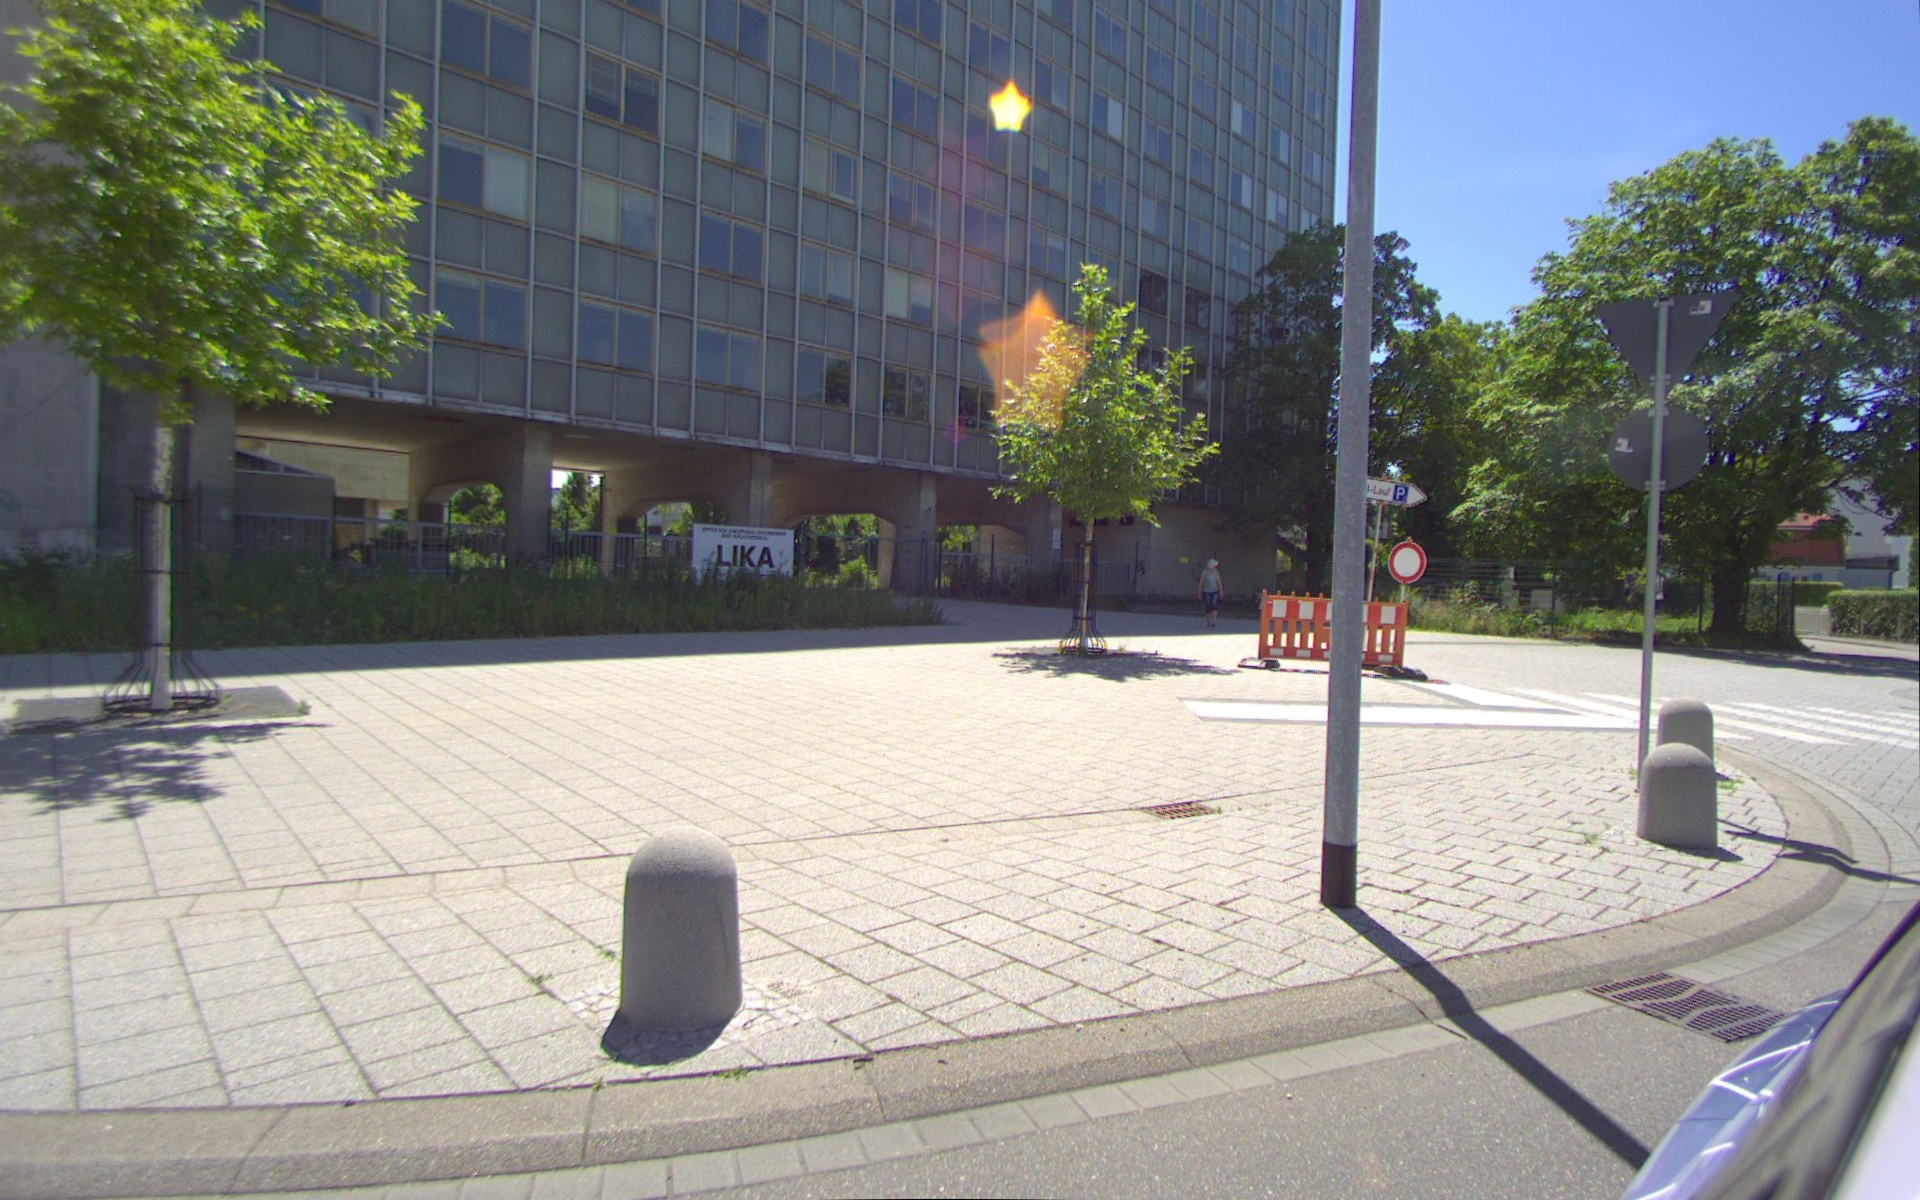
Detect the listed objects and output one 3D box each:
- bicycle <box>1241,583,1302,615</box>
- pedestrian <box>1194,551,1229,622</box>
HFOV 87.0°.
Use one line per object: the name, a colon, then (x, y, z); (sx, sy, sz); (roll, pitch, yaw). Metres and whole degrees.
bicycle: (9.629, -0.043, 31.340); (1.737, 0.918, 0.444); (3, 2, 28)
pedestrian: (6.214, -0.337, 24.991); (0.555, 1.728, 0.487); (1, 4, -36)
